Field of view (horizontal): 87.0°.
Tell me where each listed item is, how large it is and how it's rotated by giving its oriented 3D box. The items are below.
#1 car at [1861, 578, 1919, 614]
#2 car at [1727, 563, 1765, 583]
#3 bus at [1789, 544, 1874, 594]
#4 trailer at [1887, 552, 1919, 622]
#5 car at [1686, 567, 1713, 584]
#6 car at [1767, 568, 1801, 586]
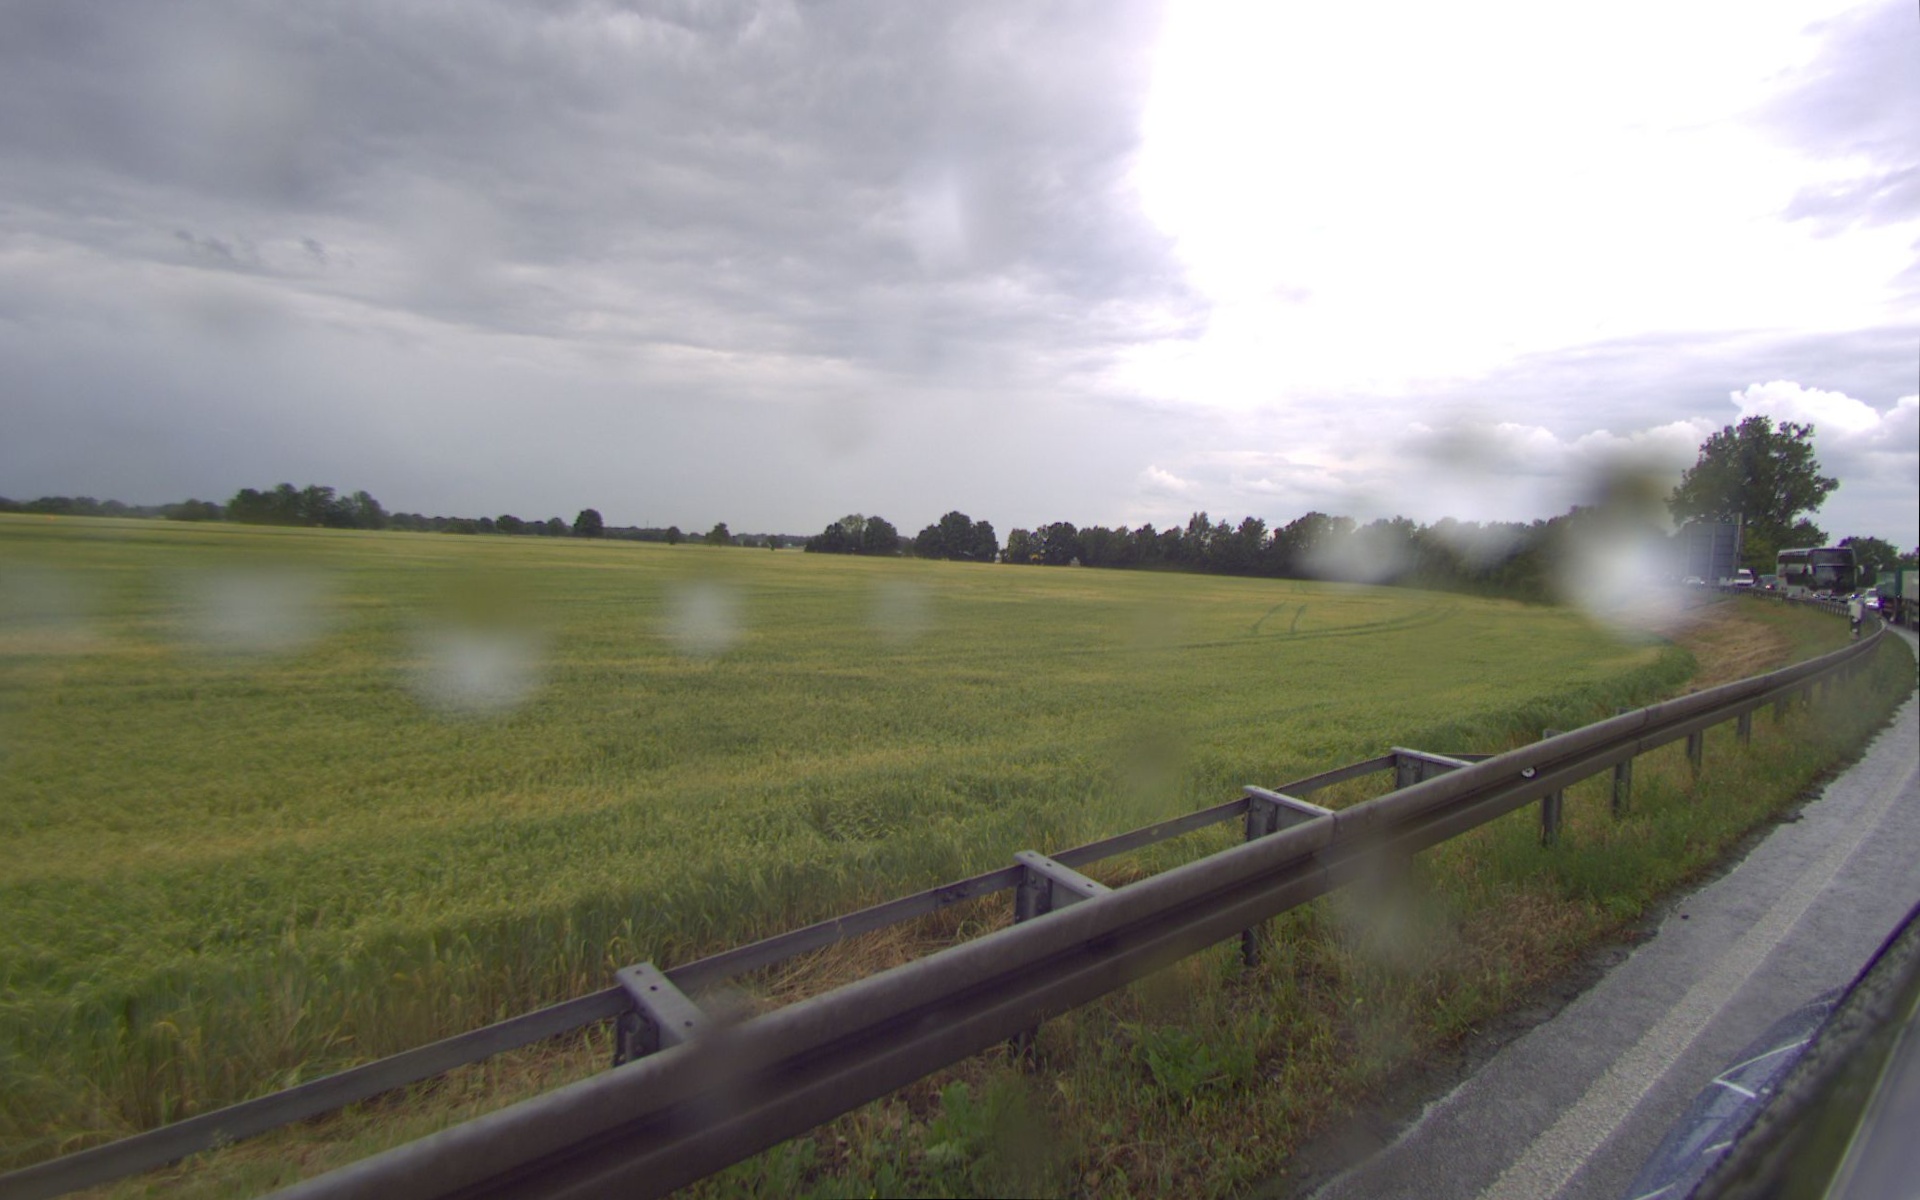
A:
[{"bbox_3d":[50.903,-0.269,55.200,2.031,1.865,5.268,0,1,36],"label":"car"},{"bbox_3d":[82.624,-2.828,106.438,1.978,2.039,5.293,0,1,24],"label":"car"},{"bbox_3d":[64.808,-2.328,75.596,2.945,3.353,14.662,0,2,34],"label":"bus"},{"bbox_3d":[40.598,-0.573,41.298,2.970,2.666,15.464,0,1,39],"label":"trailer"},{"bbox_3d":[92.474,-3.057,126.638,1.979,2.039,4.196,0,1,25],"label":"car"},{"bbox_3d":[74.625,-2.104,91.694,1.801,1.597,3.956,0,1,31],"label":"car"}]
